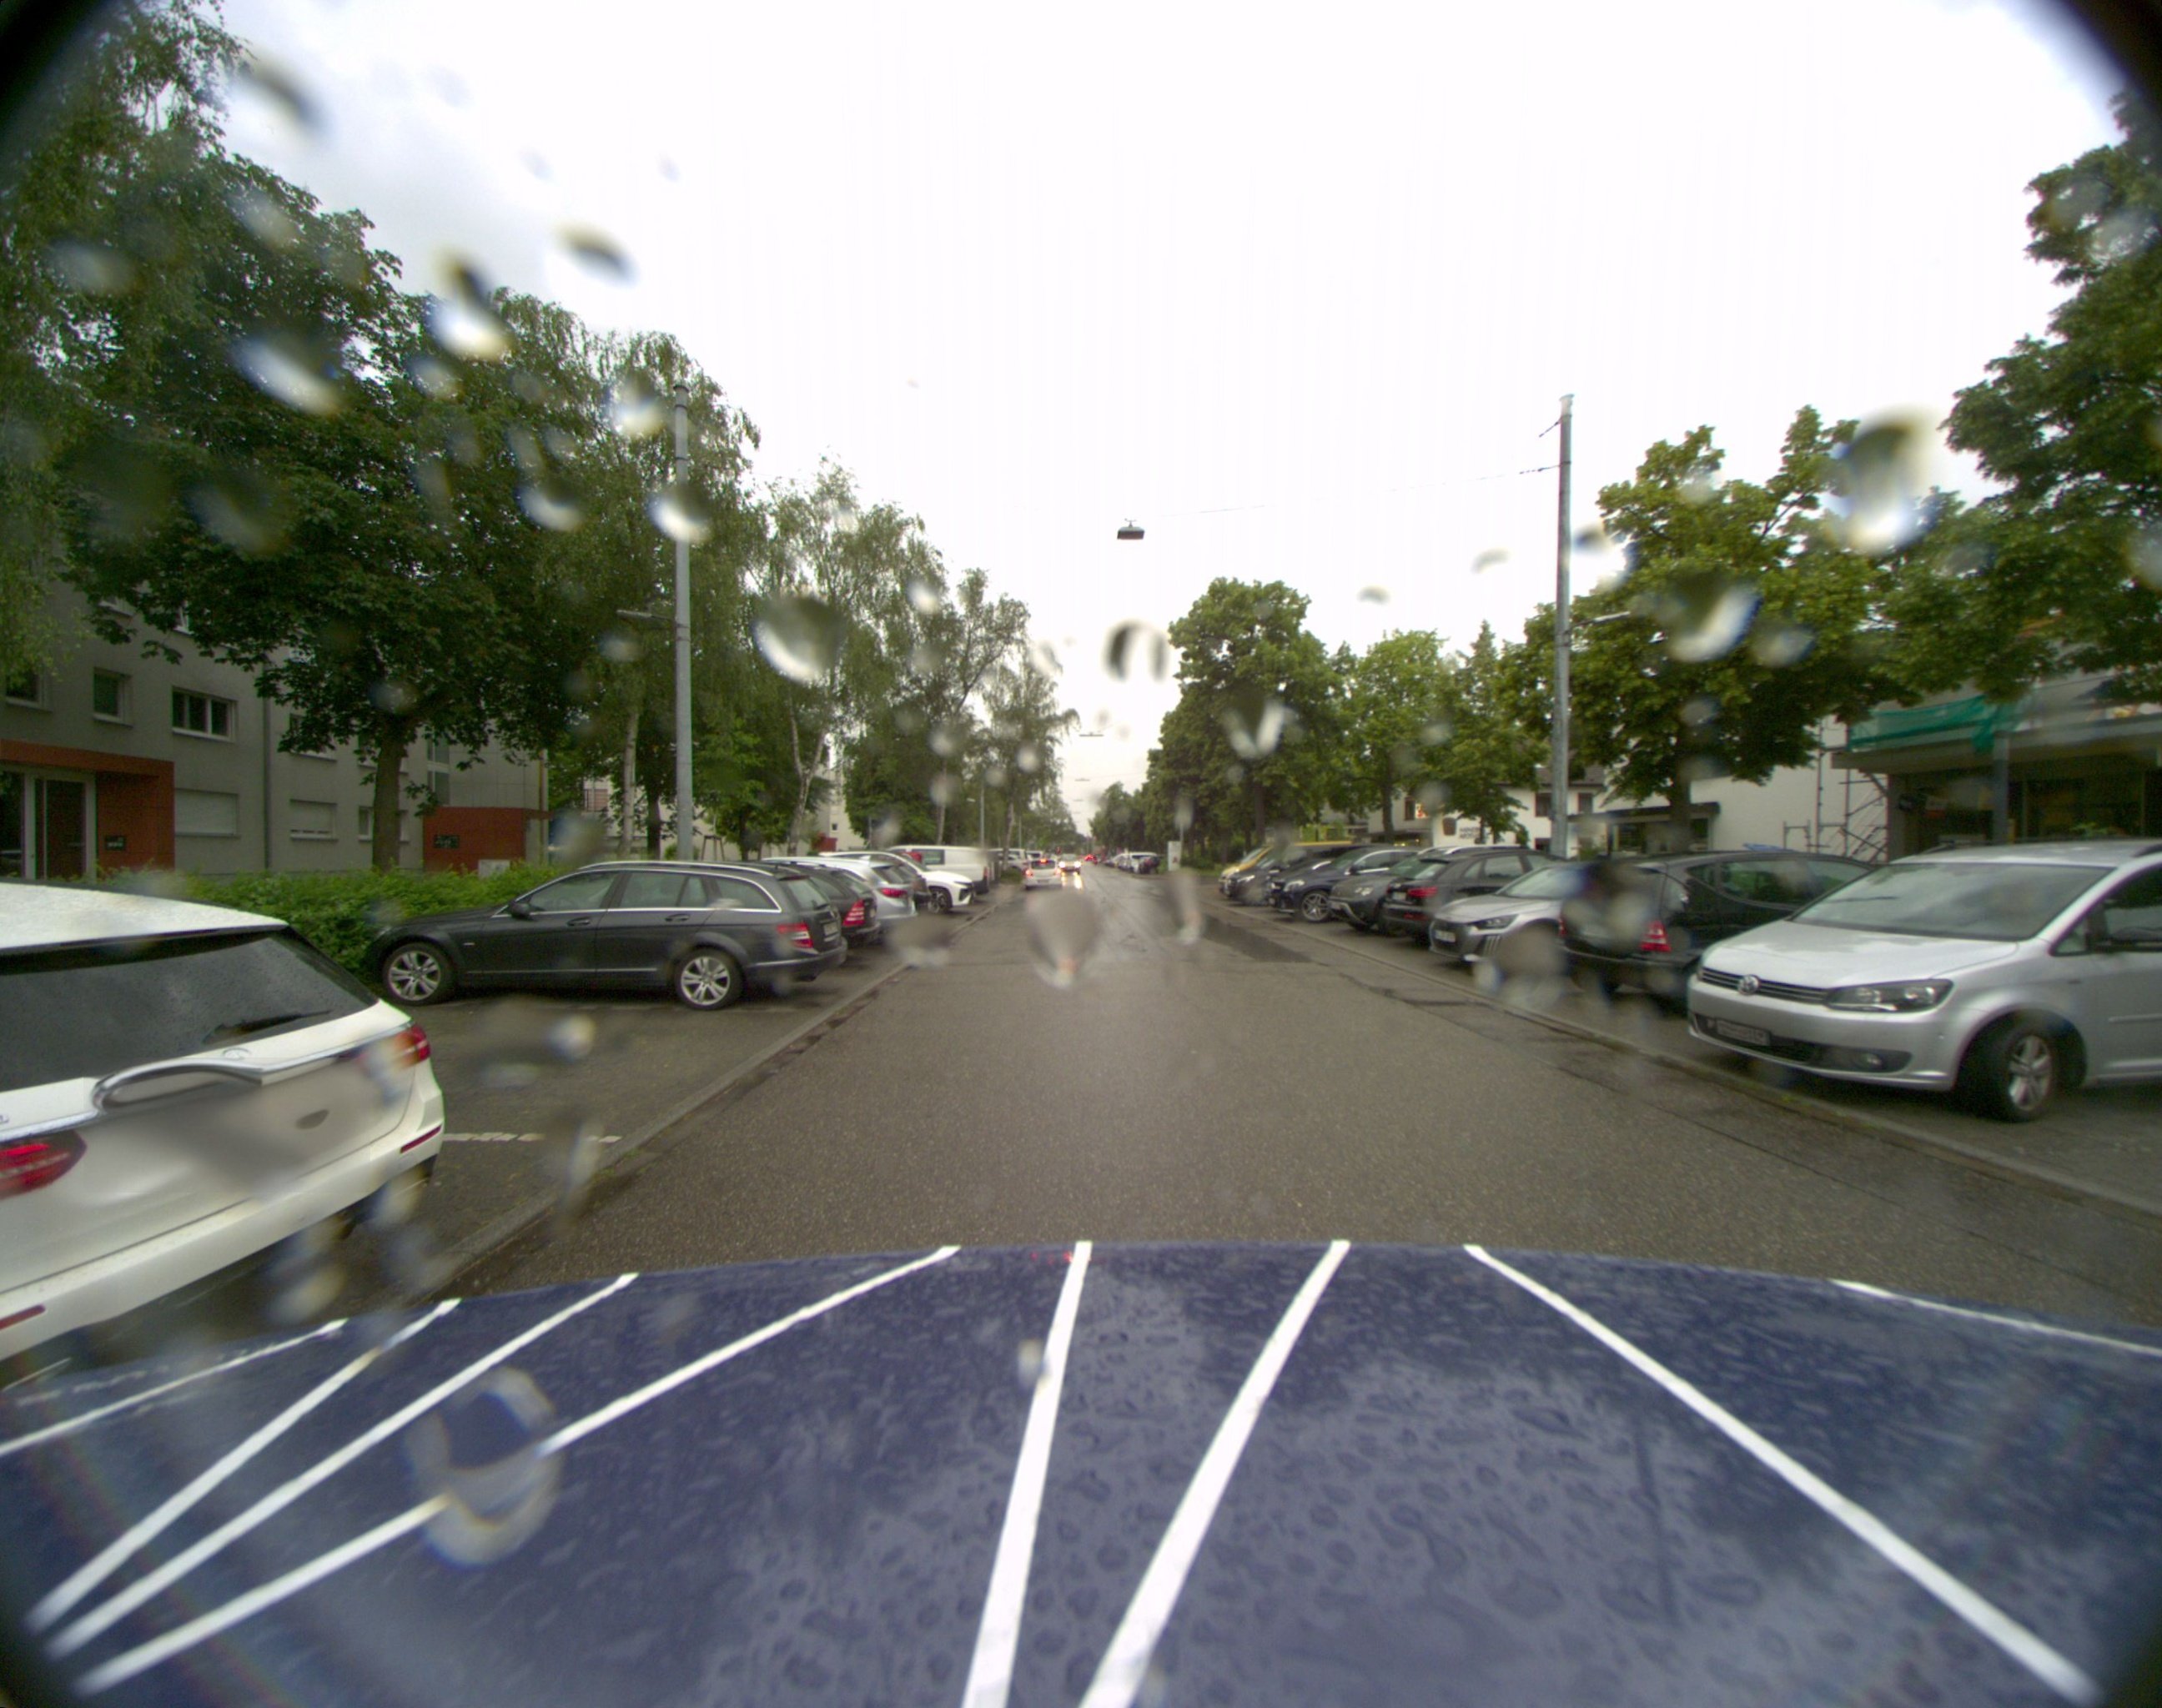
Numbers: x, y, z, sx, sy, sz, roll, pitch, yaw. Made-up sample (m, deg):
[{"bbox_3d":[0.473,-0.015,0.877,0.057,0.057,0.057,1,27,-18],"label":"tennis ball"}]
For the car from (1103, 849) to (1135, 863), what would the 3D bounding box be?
[{"bbox_3d":[4.974,0.200,99.176,3.998,1.675,1.999,-2,1,-3],"label":"car"}]

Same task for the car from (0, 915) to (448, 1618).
[{"bbox_3d":[-4.739,0.935,2.058,4.623,1.431,1.680,2,1,0],"label":"car"}]

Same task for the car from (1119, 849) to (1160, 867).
[{"bbox_3d":[6.002,0.390,78.634,3.998,1.675,1.999,-2,1,-3],"label":"car"}]

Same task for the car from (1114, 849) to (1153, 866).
[{"bbox_3d":[5.789,0.341,83.757,3.998,1.675,1.999,-2,1,-3],"label":"car"}]

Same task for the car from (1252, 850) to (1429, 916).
[{"bbox_3d":[7.120,0.772,21.094,4.283,1.617,1.715,-2,1,-2],"label":"car"}]

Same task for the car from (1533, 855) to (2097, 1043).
[{"bbox_3d":[7.254,0.868,7.783,4.283,1.556,1.635,-2,1,-2],"label":"car"}]

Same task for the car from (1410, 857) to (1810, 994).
[{"bbox_3d":[6.982,0.887,10.310,4.283,1.523,1.715,-2,1,-2],"label":"car"}]

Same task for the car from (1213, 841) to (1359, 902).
[{"bbox_3d":[7.193,0.587,26.902,4.657,1.947,1.715,-2,1,-2],"label":"car"}]

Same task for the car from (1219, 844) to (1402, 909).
[{"bbox_3d":[7.121,0.676,23.854,5.177,1.789,1.715,-2,1,-2],"label":"car"}]

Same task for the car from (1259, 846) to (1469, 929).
[{"bbox_3d":[6.579,0.738,17.941,4.283,1.717,1.715,-2,1,-2],"label":"car"}]

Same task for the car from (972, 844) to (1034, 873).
[{"bbox_3d":[-5.532,0.290,54.235,3.995,1.902,1.902,-2,1,4],"label":"car"}]

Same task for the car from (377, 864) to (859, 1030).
[{"bbox_3d":[-4.656,0.914,8.123,4.049,1.431,1.680,2,1,-3],"label":"car"}]

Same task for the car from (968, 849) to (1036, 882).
[{"bbox_3d":[-5.105,0.730,49.344,3.995,1.902,1.902,-2,1,4],"label":"car"}]

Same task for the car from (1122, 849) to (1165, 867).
[{"bbox_3d":[6.248,0.408,76.159,3.998,1.675,1.999,-2,1,-3],"label":"car"}]

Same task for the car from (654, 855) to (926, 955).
[{"bbox_3d":[-4.894,0.838,13.220,4.049,1.488,1.680,2,1,-3],"label":"car"}]

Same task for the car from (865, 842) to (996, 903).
[{"bbox_3d":[-5.098,0.622,26.184,4.182,1.856,1.679,3,1,-6],"label":"car"}]

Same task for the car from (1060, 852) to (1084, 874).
[{"bbox_3d":[-0.743,0.696,62.731,1.839,1.677,3.999,-2,1,0],"label":"car"}]

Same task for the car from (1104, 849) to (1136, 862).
[{"bbox_3d":[5.208,0.192,101.618,3.998,1.675,1.999,-2,1,-3],"label":"car"}]

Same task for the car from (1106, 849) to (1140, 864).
[{"bbox_3d":[5.222,0.244,94.421,3.998,1.675,1.999,-2,1,-3],"label":"car"}]

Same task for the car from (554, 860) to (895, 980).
[{"bbox_3d":[-4.912,0.893,10.910,4.049,1.431,1.680,2,1,-3],"label":"car"}]

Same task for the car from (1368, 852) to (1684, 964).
[{"bbox_3d":[7.273,0.836,12.681,4.283,1.586,1.715,-2,1,-2],"label":"car"}]

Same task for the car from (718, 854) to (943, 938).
[{"bbox_3d":[-5.015,0.815,15.645,4.049,1.488,1.680,2,1,-3],"label":"car"}]

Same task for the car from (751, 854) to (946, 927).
[{"bbox_3d":[-5.346,0.826,17.838,4.049,1.488,1.680,2,1,-3],"label":"car"}]

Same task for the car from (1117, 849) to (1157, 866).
[{"bbox_3d":[6.005,0.361,81.208,3.998,1.675,1.999,-2,1,-3],"label":"car"}]

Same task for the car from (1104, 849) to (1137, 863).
[{"bbox_3d":[5.031,0.223,96.942,3.998,1.675,1.999,-2,1,-3],"label":"car"}]

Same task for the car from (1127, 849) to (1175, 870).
[{"bbox_3d":[6.302,0.490,68.588,3.998,1.675,1.999,-2,1,-3],"label":"car"}]

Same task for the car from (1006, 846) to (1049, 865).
[{"bbox_3d":[-5.273,0.164,75.036,3.995,1.670,1.902,-2,1,4],"label":"car"}]

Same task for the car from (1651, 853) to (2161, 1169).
[{"bbox_3d":[6.647,0.879,5.185,4.283,1.625,1.715,-2,1,-2],"label":"car"}]

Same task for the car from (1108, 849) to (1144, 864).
[{"bbox_3d":[5.339,0.285,90.314,3.998,1.675,1.999,-2,1,-3],"label":"car"}]

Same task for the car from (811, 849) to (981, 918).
[{"bbox_3d":[-5.006,0.770,20.898,4.179,1.609,1.680,3,1,1],"label":"car"}]

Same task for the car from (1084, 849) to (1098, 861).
[{"bbox_3d":[1.551,0.128,117.233,1.999,1.617,3.999,-2,1,-1],"label":"car"}]

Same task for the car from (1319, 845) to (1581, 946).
[{"bbox_3d":[7.086,0.753,14.844,4.283,1.717,1.715,-2,1,-2],"label":"car"}]

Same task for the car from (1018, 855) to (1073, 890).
[{"bbox_3d":[-1.632,0.817,36.320,1.998,1.446,4.258,-2,1,5],"label":"car"}]
